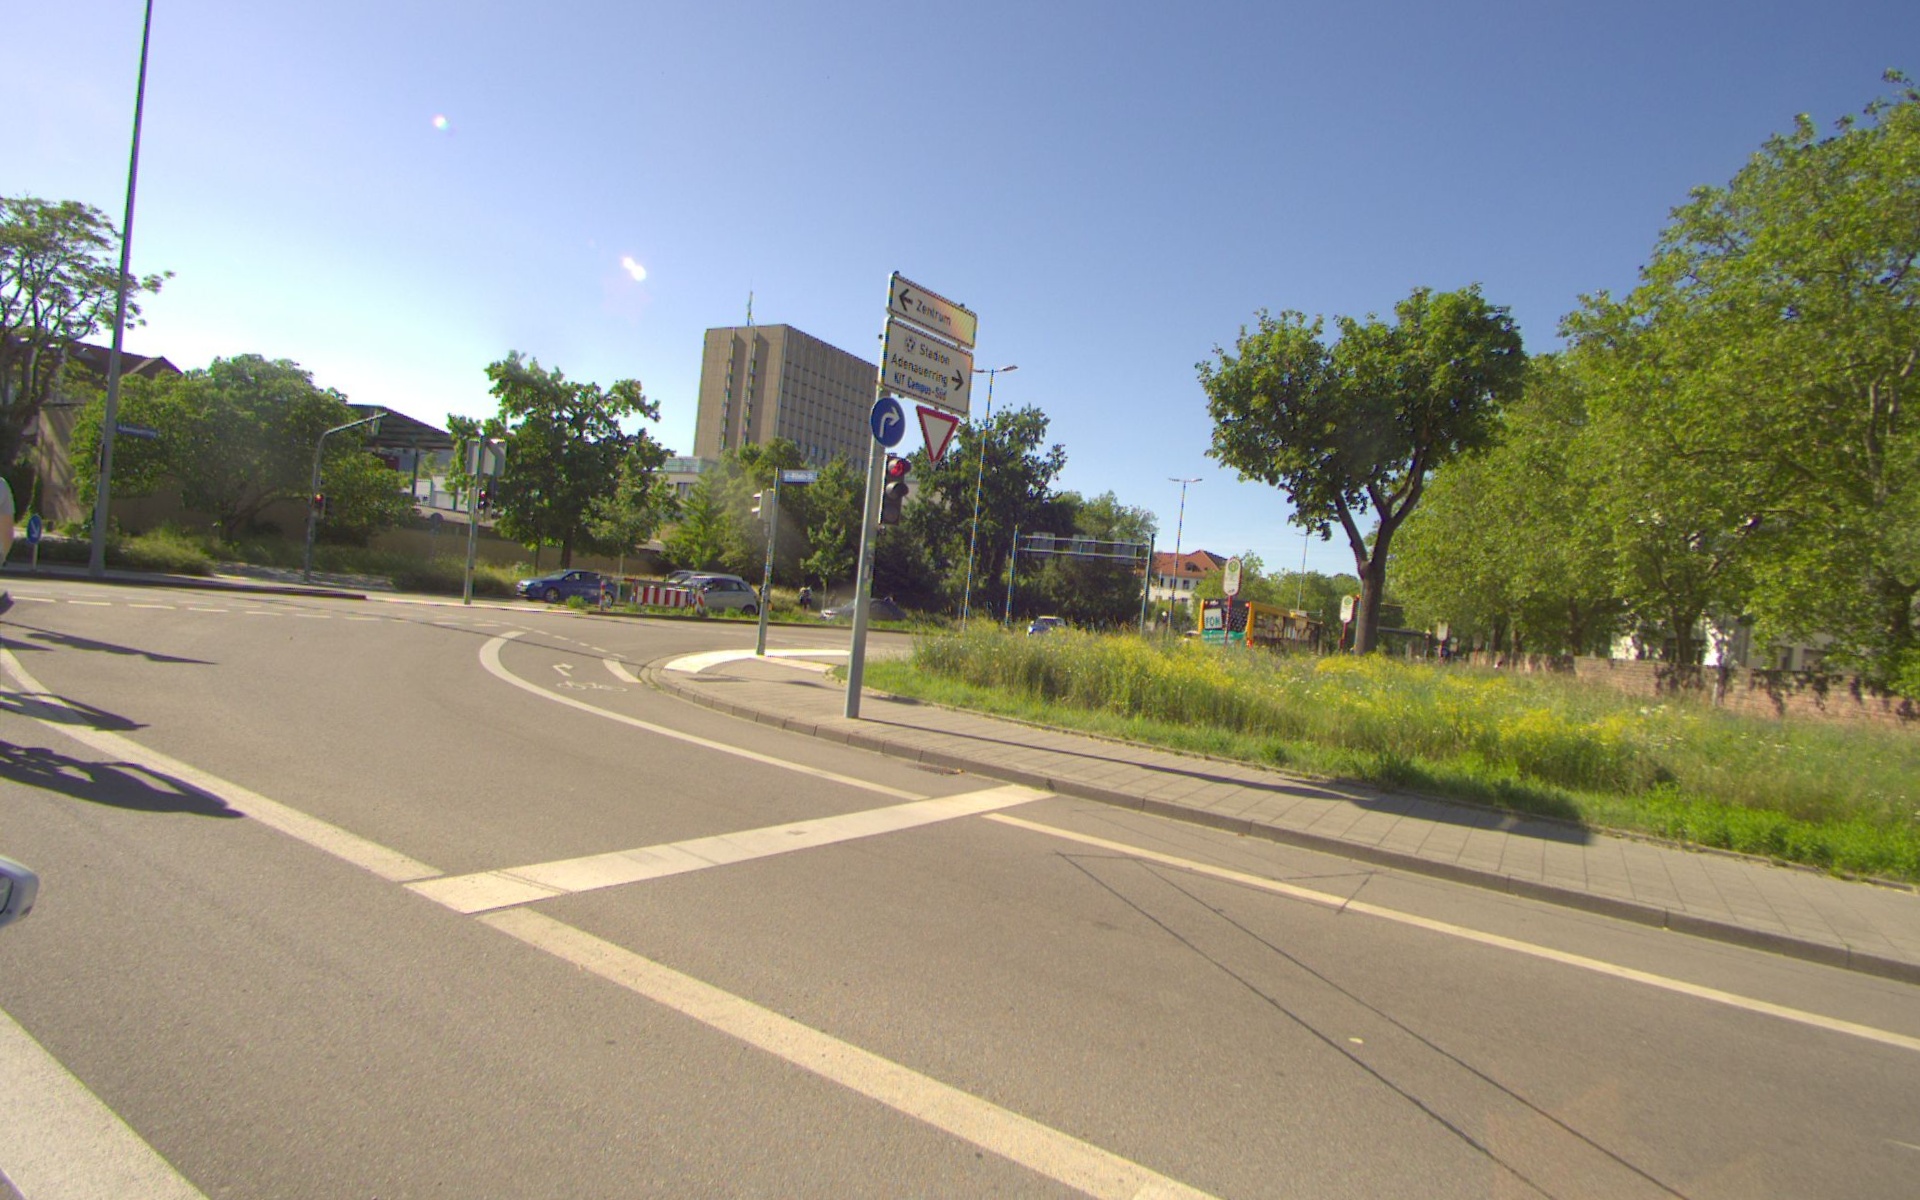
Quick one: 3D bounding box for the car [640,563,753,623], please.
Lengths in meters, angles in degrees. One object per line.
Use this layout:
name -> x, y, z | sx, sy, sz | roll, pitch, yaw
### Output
car -> -12.309, -0.273, 47.327 | 1.968, 2.131, 4.885 | 6, -2, 34

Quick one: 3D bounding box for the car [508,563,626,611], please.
car -> -16.089, -0.513, 41.336 | 1.717, 1.453, 4.162 | 7, 0, 38

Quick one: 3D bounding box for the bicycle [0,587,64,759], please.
bicycle -> -6.291, 0.345, 6.088 | 1.946, 0.906, 0.741 | 6, -2, 33

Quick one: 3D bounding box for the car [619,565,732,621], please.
car -> -11.803, -0.274, 41.897 | 1.972, 1.837, 3.982 | 7, 0, 40

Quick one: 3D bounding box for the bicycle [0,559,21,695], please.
bicycle -> -8.201, 0.090, 7.771 | 1.935, 1.014, 0.661 | 6, -1, 26

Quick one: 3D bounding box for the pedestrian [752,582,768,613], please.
pedestrian -> -11.887, -0.154, 59.859 | 0.519, 1.801, 0.561 | 7, 1, 35

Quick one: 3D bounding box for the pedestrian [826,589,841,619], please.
pedestrian -> -8.121, 0.260, 64.542 | 0.519, 1.801, 0.561 | 7, 1, 35

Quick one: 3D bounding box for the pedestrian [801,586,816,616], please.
pedestrian -> -9.654, 0.063, 64.166 | 0.519, 1.801, 0.561 | 7, 1, 35

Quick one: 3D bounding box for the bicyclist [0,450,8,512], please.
bicyclist -> -8.135, -0.371, 7.777 | 1.048, 1.759, 0.647 | 7, -1, 26

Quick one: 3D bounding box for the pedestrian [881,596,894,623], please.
pedestrian -> -5.011, 0.677, 69.459 | 0.519, 1.801, 0.561 | 7, 1, 35

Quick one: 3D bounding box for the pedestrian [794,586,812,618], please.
pedestrian -> -9.560, 0.118, 61.319 | 0.702, 1.872, 0.561 | 7, 1, 35

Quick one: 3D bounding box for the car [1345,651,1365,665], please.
car -> 48.536, 7.149, 123.577 | 1.812, 1.405, 4.066 | 4, -2, 27

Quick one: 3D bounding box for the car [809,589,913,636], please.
car -> -4.306, 0.581, 44.706 | 1.968, 1.604, 4.736 | 6, 0, 33

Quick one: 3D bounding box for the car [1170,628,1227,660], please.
car -> 13.558, 2.521, 57.071 | 1.813, 1.639, 4.692 | 4, -1, 30

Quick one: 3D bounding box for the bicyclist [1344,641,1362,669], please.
bicyclist -> 20.143, 2.820, 51.556 | 0.509, 1.368, 1.002 | 7, 1, 32

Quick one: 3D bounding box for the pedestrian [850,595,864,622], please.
pedestrian -> -6.947, 0.567, 67.949 | 0.519, 1.801, 0.561 | 7, 1, 35

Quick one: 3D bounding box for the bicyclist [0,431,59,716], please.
bicyclist -> -6.218, -0.212, 6.088 | 1.000, 1.688, 0.752 | 6, -1, 33

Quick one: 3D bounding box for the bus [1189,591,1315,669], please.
bus -> 14.263, 1.575, 48.369 | 2.752, 2.662, 10.096 | 6, -2, 33

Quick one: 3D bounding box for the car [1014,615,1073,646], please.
car -> 5.006, 1.837, 59.903 | 1.757, 1.448, 3.990 | 6, 0, 32

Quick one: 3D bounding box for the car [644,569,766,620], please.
car -> -9.433, -0.169, 37.427 | 1.840, 1.426, 4.046 | 6, 0, 38

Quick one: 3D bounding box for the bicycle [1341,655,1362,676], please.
bicycle -> 20.143, 3.359, 51.700 | 0.509, 1.007, 2.056 | 7, 0, 32
